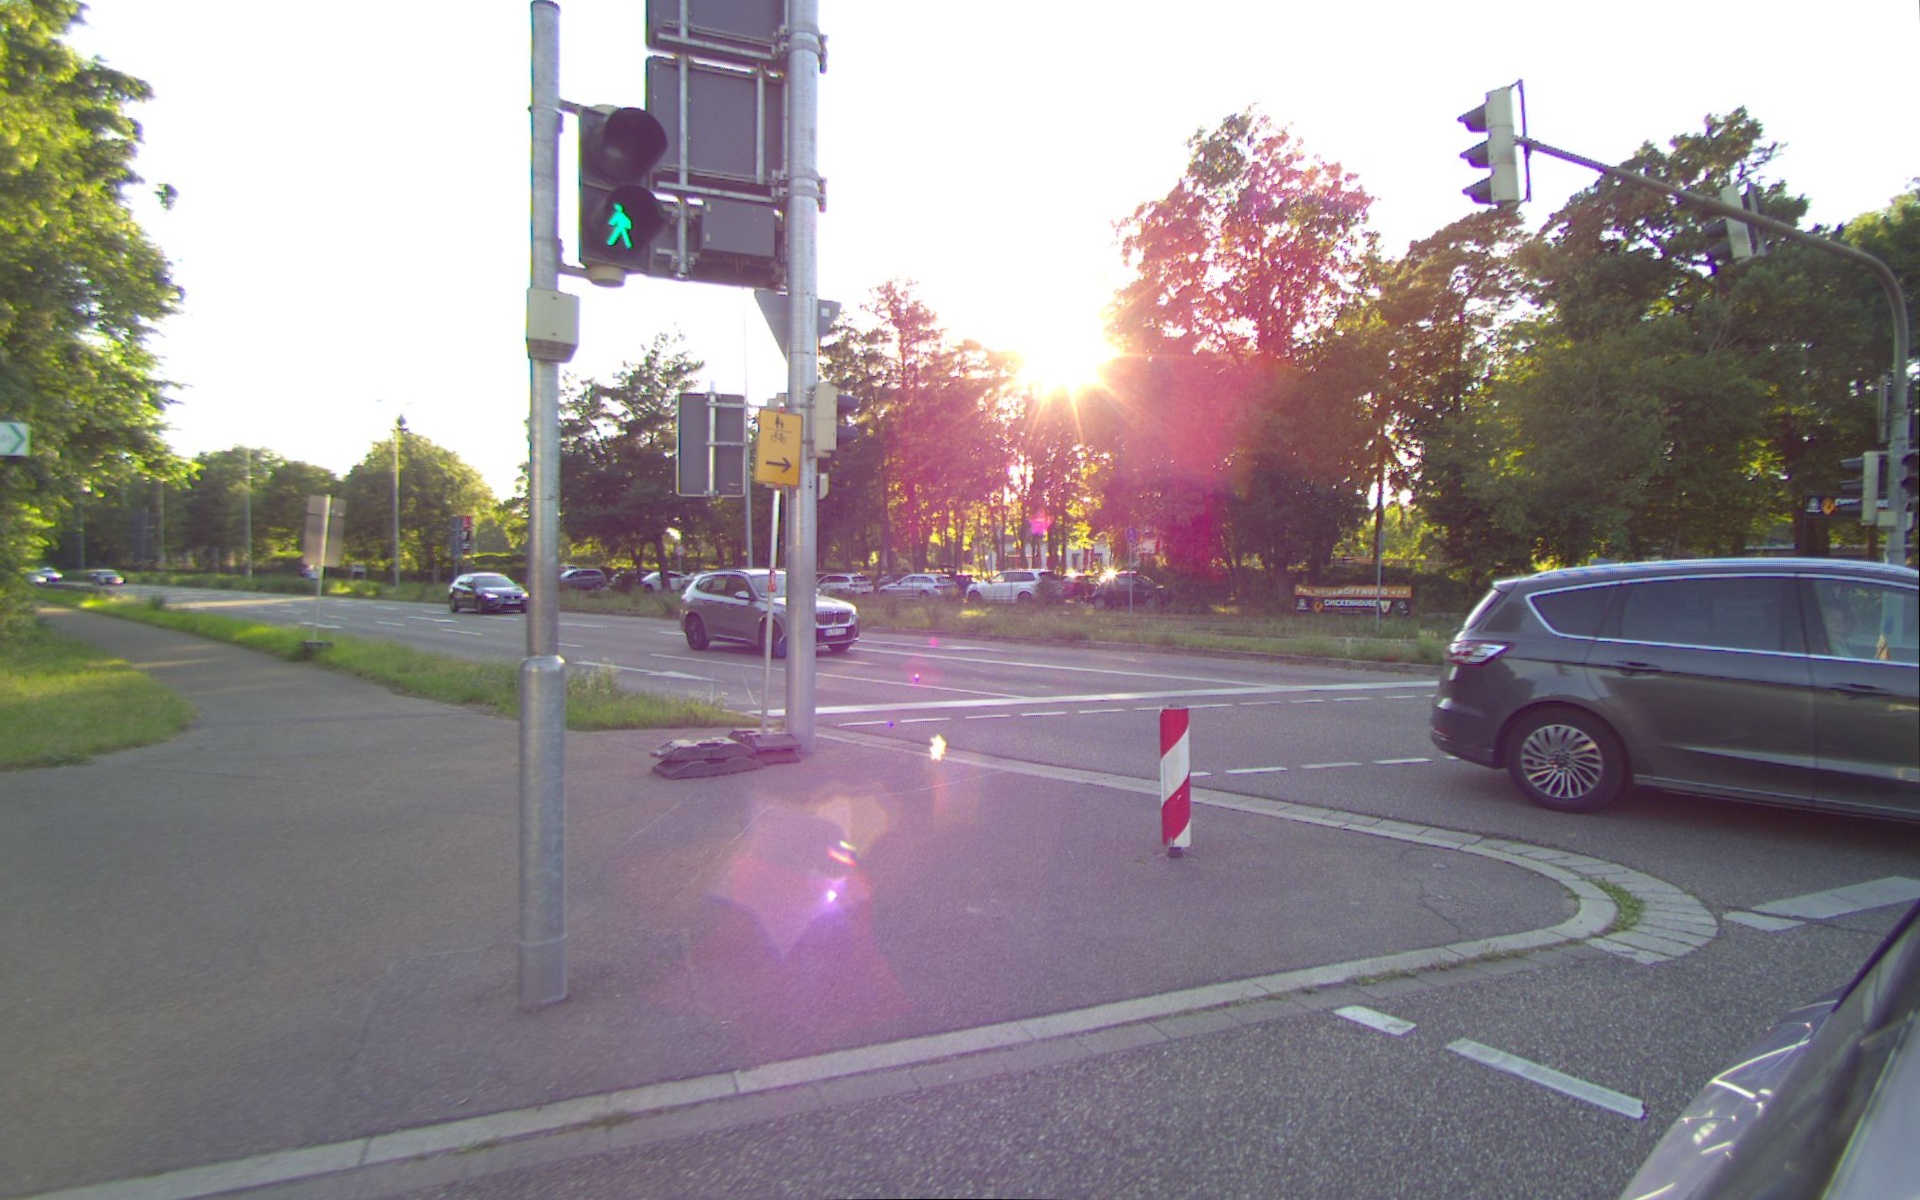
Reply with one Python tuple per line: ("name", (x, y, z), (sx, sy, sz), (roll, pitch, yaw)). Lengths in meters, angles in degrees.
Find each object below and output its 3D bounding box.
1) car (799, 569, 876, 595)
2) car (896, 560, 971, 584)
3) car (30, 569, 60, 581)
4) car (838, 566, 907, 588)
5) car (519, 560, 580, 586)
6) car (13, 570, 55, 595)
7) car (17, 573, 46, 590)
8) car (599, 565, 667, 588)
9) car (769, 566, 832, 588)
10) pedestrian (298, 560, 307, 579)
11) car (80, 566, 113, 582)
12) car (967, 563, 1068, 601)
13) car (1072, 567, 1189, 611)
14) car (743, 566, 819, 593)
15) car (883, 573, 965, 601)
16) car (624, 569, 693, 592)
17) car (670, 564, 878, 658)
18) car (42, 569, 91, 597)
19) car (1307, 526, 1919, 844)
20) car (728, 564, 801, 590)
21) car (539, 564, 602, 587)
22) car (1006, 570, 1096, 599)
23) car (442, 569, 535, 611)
("car", (-6.764, -1.007, 55.457), (4.480, 1.341, 1.655), (2, 2, 41))
("car", (-1.611, -1.697, 61.285), (4.529, 1.424, 1.838), (2, 2, 41))
("car", (-100.611, -2.772, 111.259), (3.722, 1.304, 1.723), (1, 2, 36))
("car", (-5.643, -1.497, 65.155), (4.529, 1.424, 1.838), (2, 2, 41))
("car", (-31.145, -2.055, 76.877), (1.820, 1.888, 3.936), (2, 2, 45))
("car", (-64.450, -1.272, 70.411), (4.384, 1.644, 1.968), (2, 3, 45))
("car", (-83.732, -1.708, 91.270), (1.841, 1.422, 4.068), (-3, 4, -42))
("car", (-22.264, -1.599, 69.020), (1.777, 1.497, 4.109), (1, 2, 42))
("car", (-11.030, -1.614, 69.917), (4.529, 1.424, 1.838), (2, 2, 41))
("pedestrian", (-65.436, -3.040, 100.752), (0.559, 1.796, 0.675), (-3, 3, -44))
("car", (-79.146, -2.416, 92.783), (4.062, 1.422, 1.844), (2, 4, 44))
("car", (2.612, -0.877, 46.974), (4.529, 1.679, 1.838), (2, 2, 41))
("car", (7.158, -0.499, 42.632), (4.512, 1.678, 1.845), (2, 2, 31))
("car", (-10.101, -1.190, 57.368), (3.984, 1.497, 1.758), (-1, 2, -44))
("car", (-1.866, -0.688, 51.154), (3.983, 1.348, 1.838), (2, 2, 41))
("car", (-20.001, -1.317, 67.195), (1.777, 1.497, 4.109), (1, 2, 42))
("car", (-3.809, 0.126, 20.269), (4.384, 1.644, 1.968), (2, 3, 45))
("car", (-54.866, -1.065, 62.130), (4.384, 1.644, 1.968), (2, 3, 45))
("car", (5.046, 0.418, 6.723), (4.804, 1.682, 1.982), (0, 1, 43))
("car", (-11.689, -1.392, 60.758), (1.993, 1.471, 3.940), (2, 2, 42))
("car", (-28.794, -1.788, 74.876), (1.820, 1.657, 3.936), (2, 2, 45))
("car", (4.731, -0.845, 53.133), (4.529, 1.424, 1.838), (2, 2, 41))
("car", (-17.504, -0.400, 37.485), (4.064, 1.422, 1.843), (2, 4, 45))
